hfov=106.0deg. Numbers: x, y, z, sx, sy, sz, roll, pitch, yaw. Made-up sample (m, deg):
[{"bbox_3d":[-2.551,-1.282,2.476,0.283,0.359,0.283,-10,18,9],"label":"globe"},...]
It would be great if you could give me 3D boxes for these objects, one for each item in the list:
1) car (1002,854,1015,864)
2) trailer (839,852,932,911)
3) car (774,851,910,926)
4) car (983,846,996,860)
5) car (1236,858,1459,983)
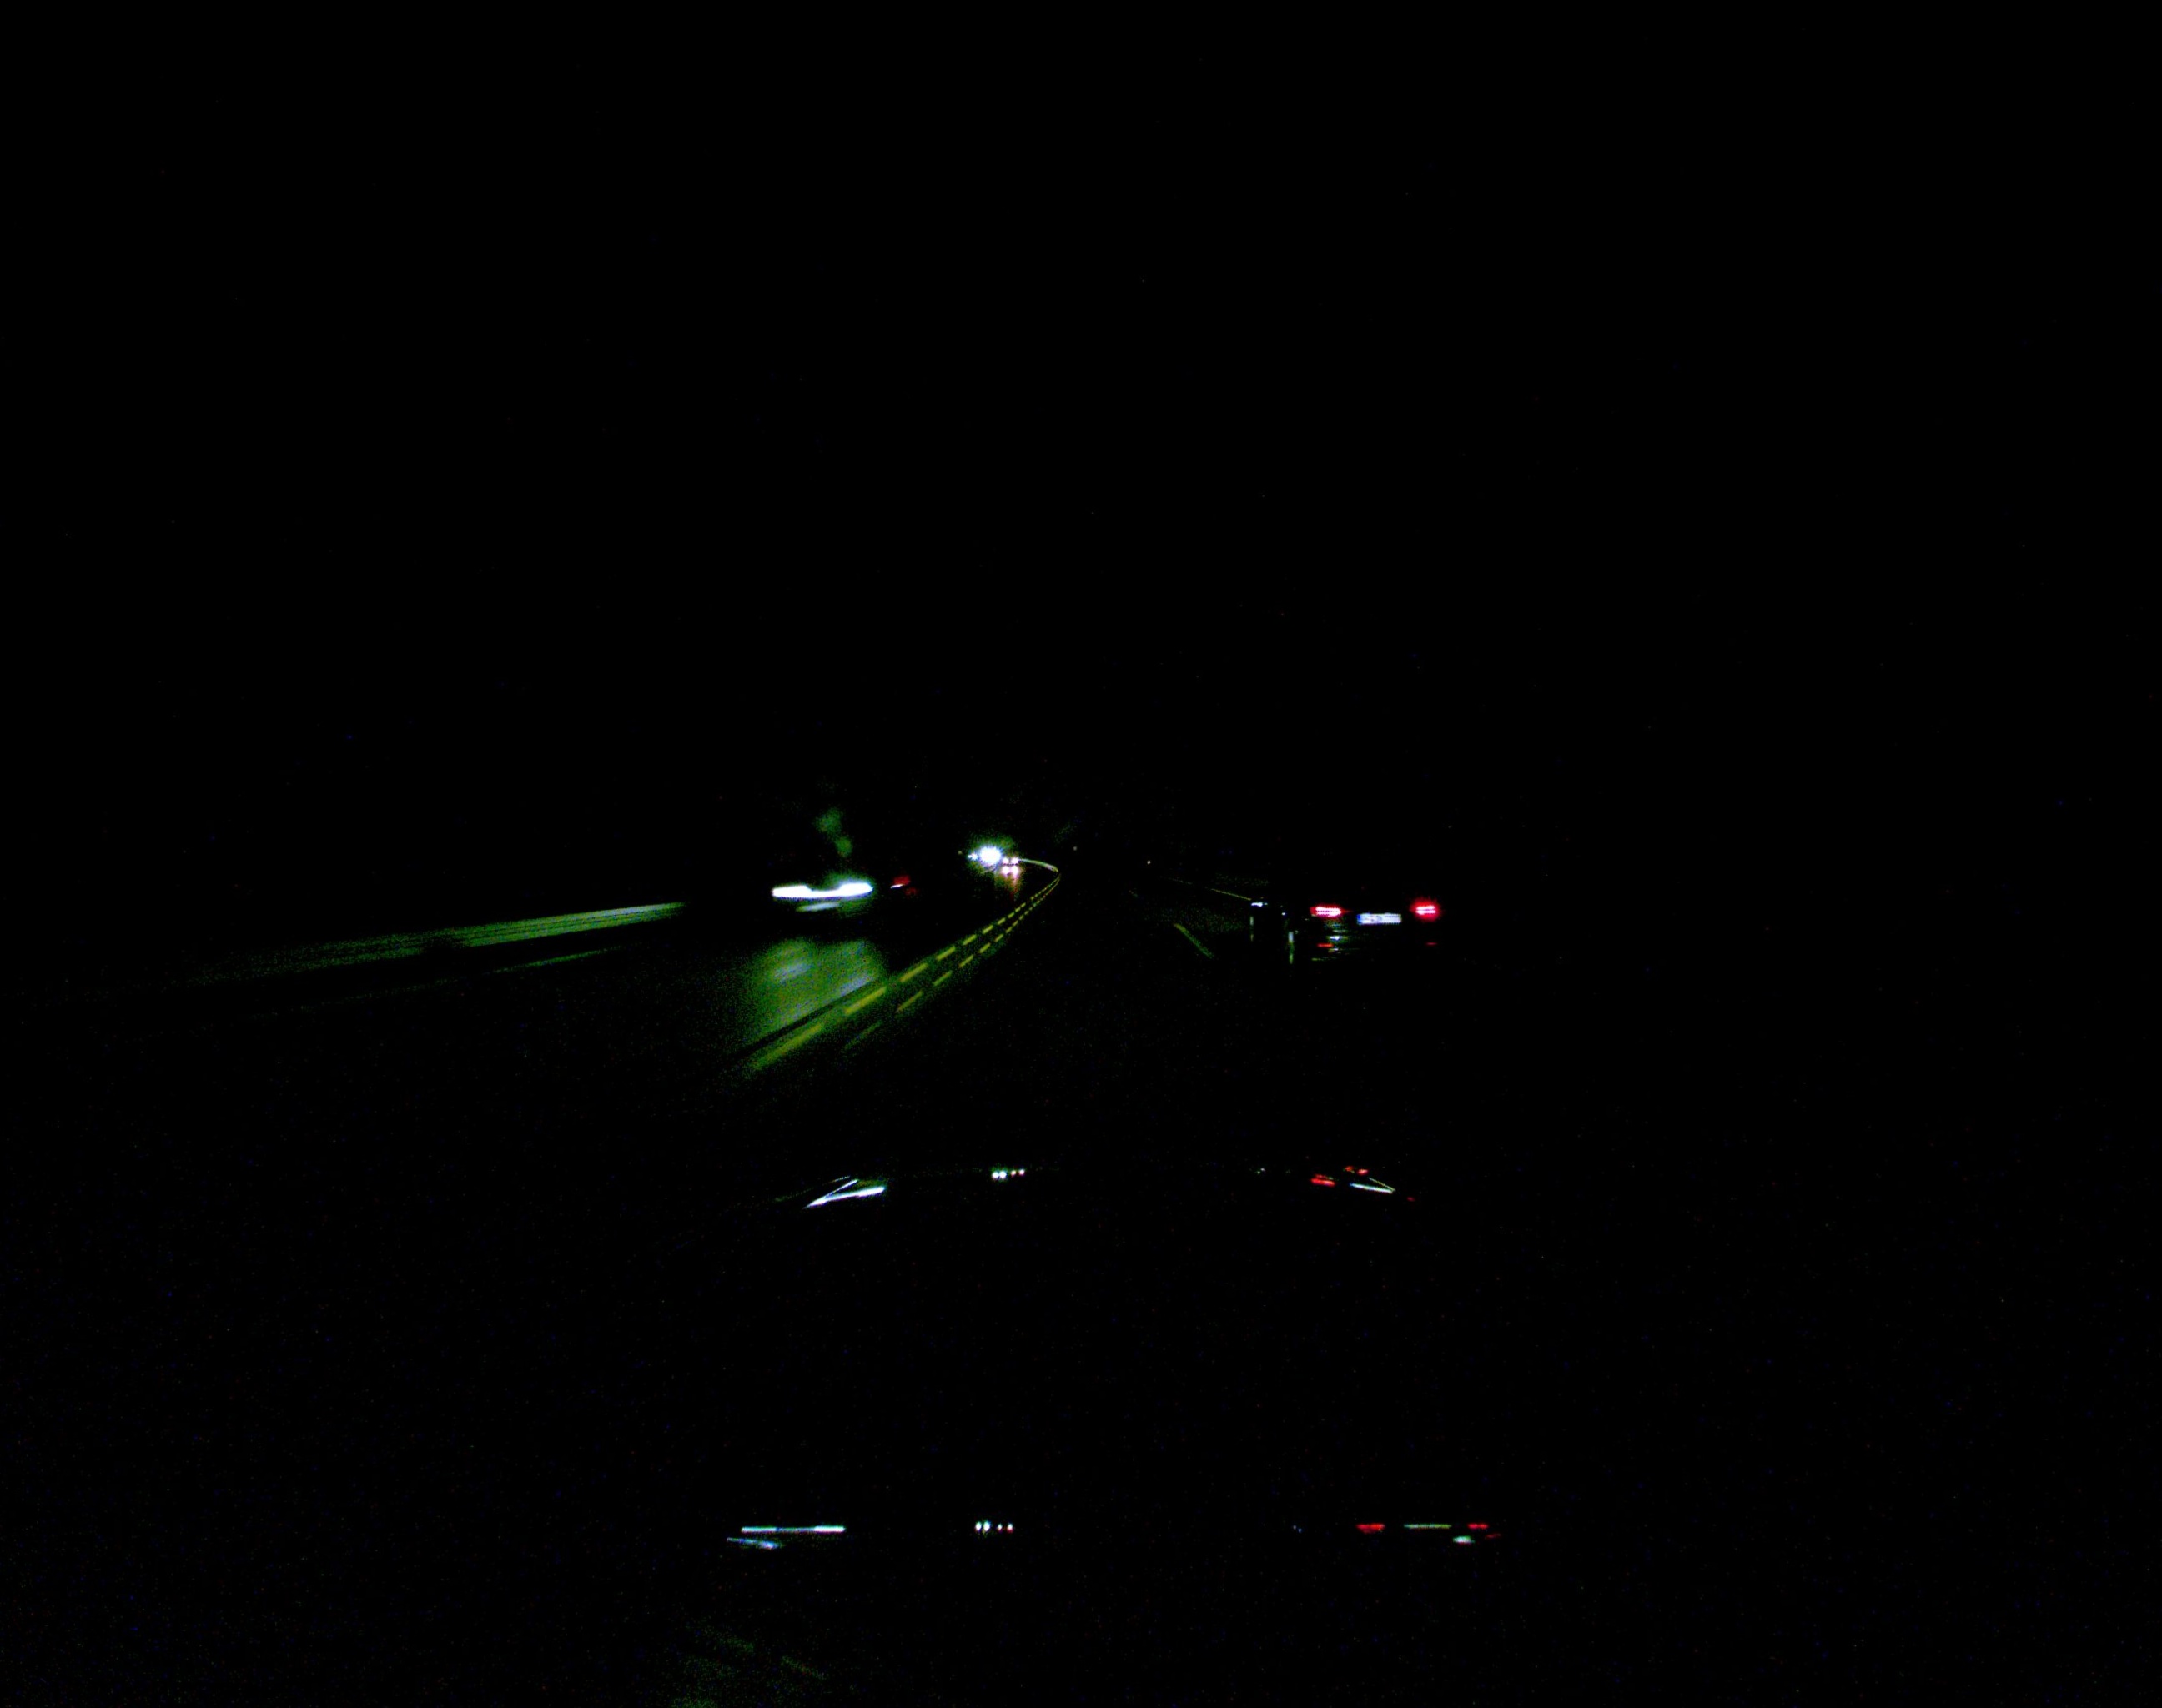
[{"bbox_3d":[-10.446,0.702,117.148,1.682,1.459,4.191,-1,0,-6],"label":"car"},{"bbox_3d":[-5.853,0.808,24.800,2.007,1.639,3.416,-1,-1,-1],"label":"trailer"},{"bbox_3d":[-5.858,0.811,20.662,2.007,1.639,4.861,-1,-1,-1],"label":"car"},{"bbox_3d":[-21.433,-0.152,191.337,2.487,3.105,7.357,-1,-1,-11],"label":"car"},{"bbox_3d":[3.589,0.789,12.003,1.801,1.426,4.876,-1,0,2],"label":"car"}]
